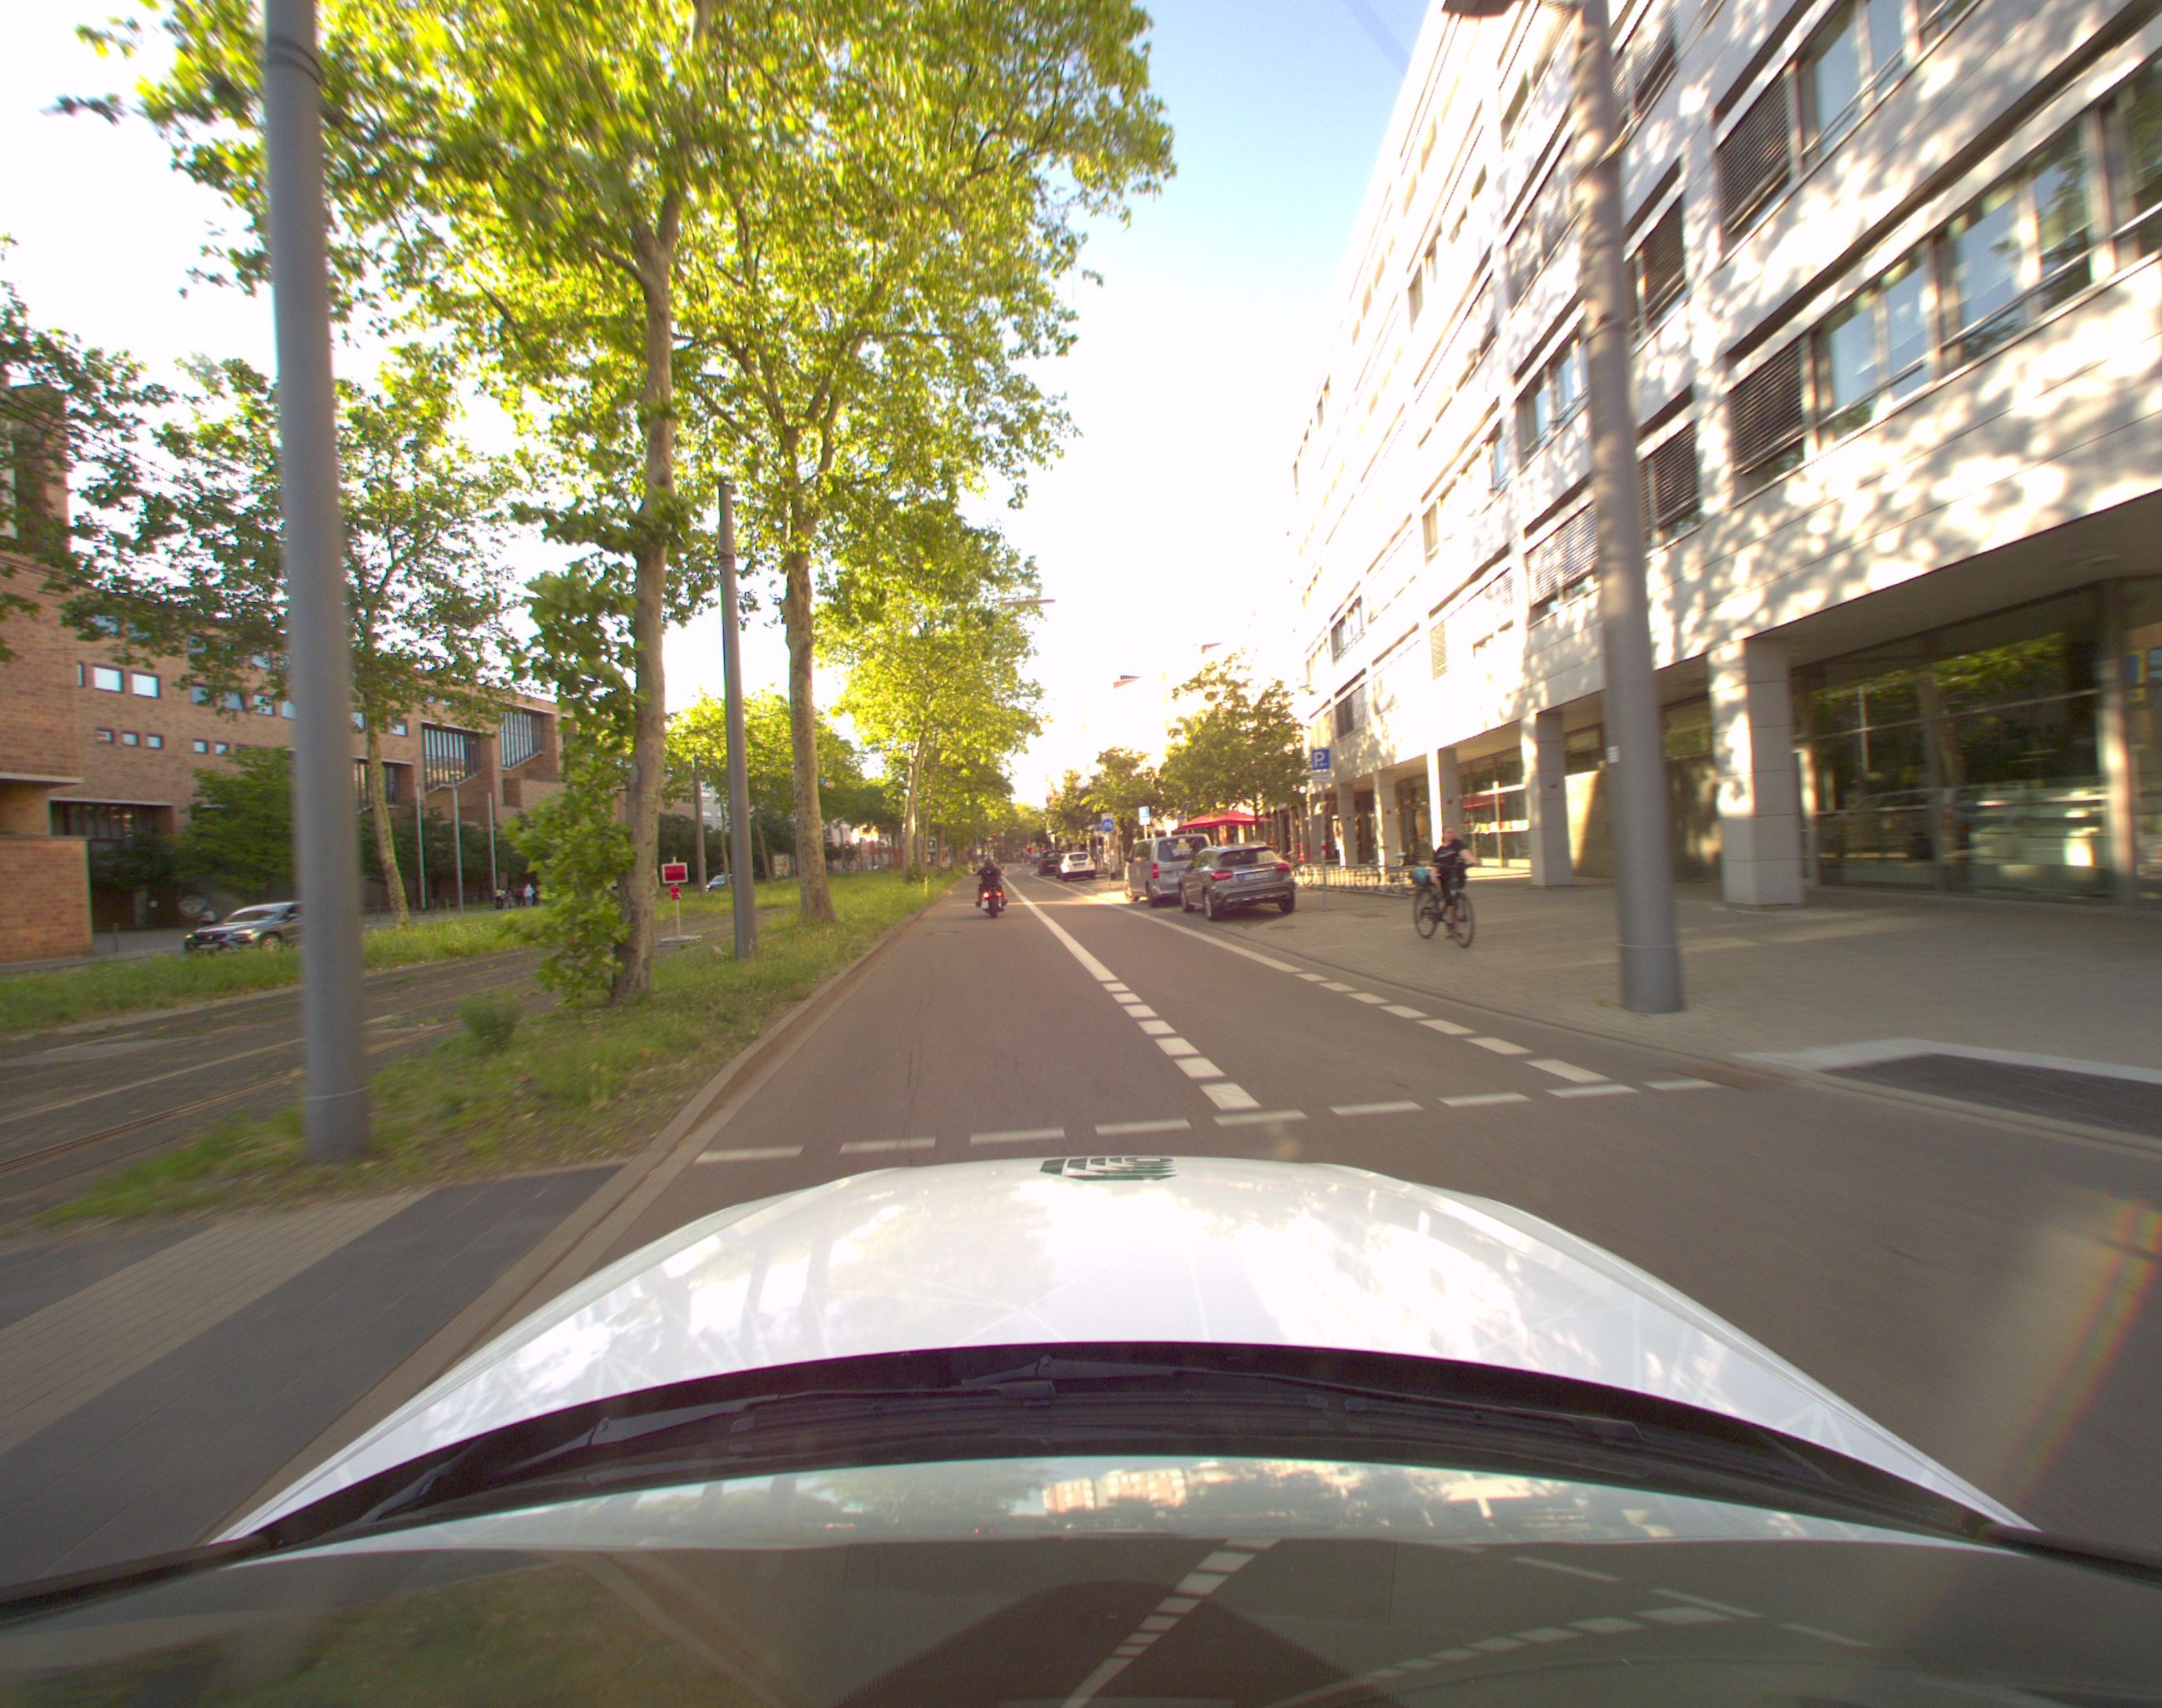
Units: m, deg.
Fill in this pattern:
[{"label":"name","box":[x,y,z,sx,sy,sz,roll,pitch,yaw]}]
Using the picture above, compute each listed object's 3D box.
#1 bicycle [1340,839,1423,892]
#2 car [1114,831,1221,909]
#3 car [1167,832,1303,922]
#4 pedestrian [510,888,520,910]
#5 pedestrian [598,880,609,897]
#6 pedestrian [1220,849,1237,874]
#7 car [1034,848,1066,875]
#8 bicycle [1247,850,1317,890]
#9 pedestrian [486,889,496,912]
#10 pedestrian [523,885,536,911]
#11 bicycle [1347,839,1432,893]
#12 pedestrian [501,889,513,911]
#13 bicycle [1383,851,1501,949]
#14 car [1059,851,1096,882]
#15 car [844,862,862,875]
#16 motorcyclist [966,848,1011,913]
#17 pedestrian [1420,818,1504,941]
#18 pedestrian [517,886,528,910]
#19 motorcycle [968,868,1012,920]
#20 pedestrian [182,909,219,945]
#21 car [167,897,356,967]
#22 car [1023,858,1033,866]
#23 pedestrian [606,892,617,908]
[{"label":"bicycle","box":[7.482,0.284,20.299,1.828,1.151,0.470,-5,0,-2]},{"label":"car","box":[2.386,0.442,23.849,1.920,1.843,4.913,-6,0,-7]},{"label":"car","box":[3.266,0.456,18.224,1.856,1.572,4.409,-6,0,-3]},{"label":"pedestrian","box":[-37.823,3.009,54.417,0.317,1.457,0.341,-4,0,0]},{"label":"pedestrian","box":[-38.780,2.779,66.095,0.501,1.291,0.521,-3,0,-2]},{"label":"pedestrian","box":[9.341,0.485,51.603,0.868,1.546,0.994,-3,0,-1]},{"label":"car","box":[-2.465,0.582,64.578,2.028,1.976,4.403,-4,0,-7]},{"label":"bicycle","box":[6.053,0.474,24.604,1.867,1.101,0.738,-3,0,-10]},{"label":"pedestrian","box":[-38.179,3.021,52.705,0.363,1.420,0.332,-4,0,1]},{"label":"pedestrian","box":[-37.336,2.991,55.097,0.434,1.704,0.480,-4,0,1]},{"label":"bicycle","box":[7.492,0.293,19.821,1.828,1.151,0.470,-5,0,-2]},{"label":"pedestrian","box":[-37.359,3.003,52.999,0.389,1.416,0.458,-4,0,0]},{"label":"bicycle","box":[4.974,0.586,11.360,0.610,1.163,1.845,-7,1,-4]},{"label":"car","box":[-0.253,0.694,47.388,1.855,1.638,3.863,-4,0,-4]},{"label":"car","box":[-31.238,2.013,111.768,1.901,1.686,3.986,-3,0,-10]},{"label":"motorcyclist","box":[-2.401,0.657,21.084,1.022,1.552,1.283,-4,1,-8]},{"label":"pedestrian","box":[5.336,0.342,11.457,0.604,1.611,0.836,-6,1,-5]},{"label":"pedestrian","box":[-37.362,2.936,54.485,0.364,1.523,0.423,-4,0,1]},{"label":"motorcycle","box":[-2.366,0.999,21.086,1.005,1.125,2.317,-4,1,-8]},{"label":"pedestrian","box":[-48.482,4.021,44.841,0.972,1.881,0.881,-3,0,3]},{"label":"car","box":[-24.751,2.273,24.871,1.823,1.562,4.327,-3,1,-10]},{"label":"car","box":[-12.766,1.966,195.259,1.987,1.706,3.999,-3,0,0]},{"label":"pedestrian","box":[-39.713,3.851,68.876,0.501,1.291,0.521,-3,0,-2]}]
